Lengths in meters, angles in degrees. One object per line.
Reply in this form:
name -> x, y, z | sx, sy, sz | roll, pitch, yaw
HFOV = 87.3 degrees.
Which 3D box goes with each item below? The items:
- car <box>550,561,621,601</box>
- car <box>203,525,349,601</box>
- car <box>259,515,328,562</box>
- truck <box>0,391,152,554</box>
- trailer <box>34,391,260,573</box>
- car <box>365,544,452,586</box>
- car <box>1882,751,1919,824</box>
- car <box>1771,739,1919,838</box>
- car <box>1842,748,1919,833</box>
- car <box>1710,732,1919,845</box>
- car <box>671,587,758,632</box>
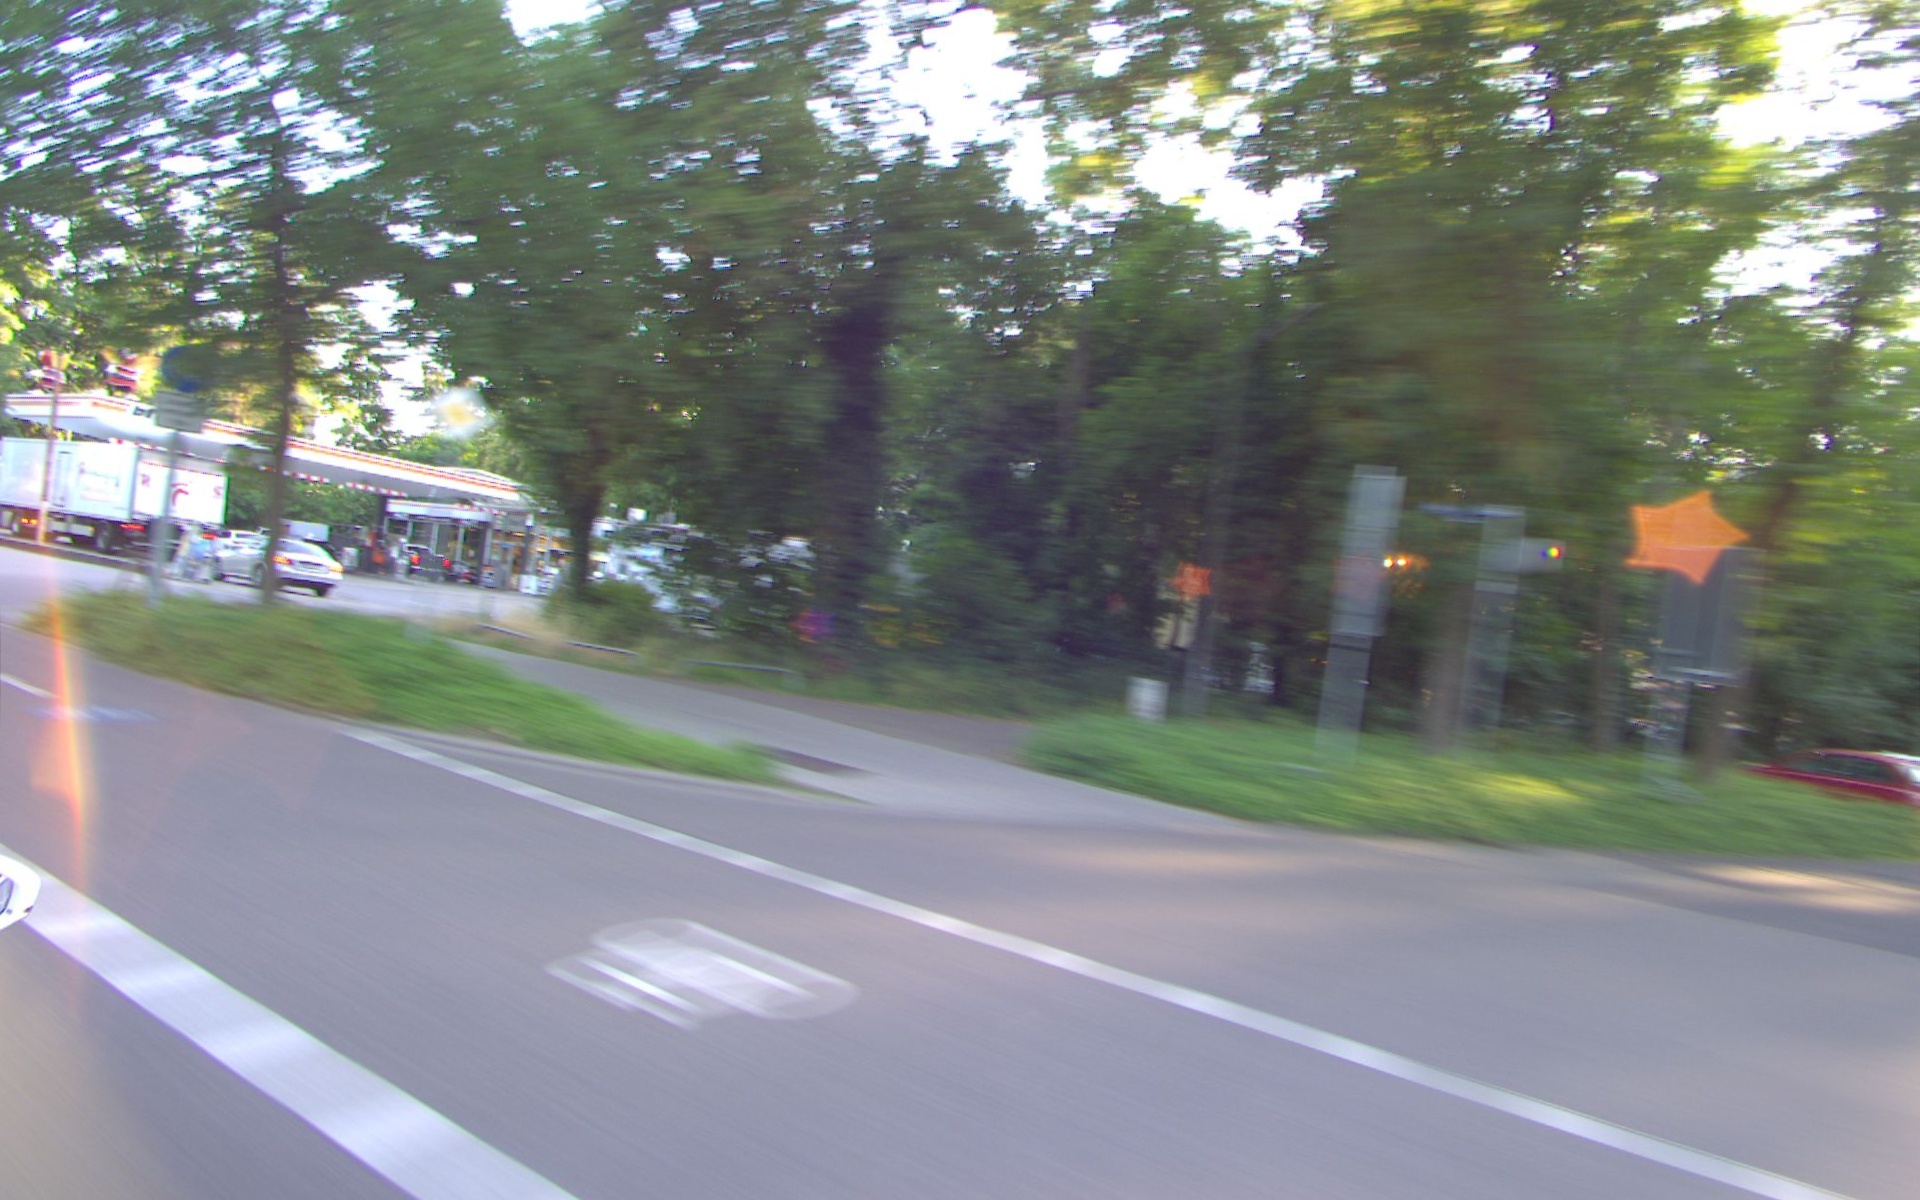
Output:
car -> -16.561, -0.794, 44.720 | 1.643, 1.541, 4.129 | 6, 0, -3
car -> -19.744, -1.092, 28.982 | 4.743, 1.601, 1.772 | 6, -3, 35
car -> -40.799, -3.789, 61.561 | 4.548, 2.374, 1.772 | 7, -2, 35
truck -> -35.949, -5.094, 39.615 | 8.264, 5.521, 3.040 | 7, 0, 29
trailer -> -28.979, -4.234, 35.773 | 7.797, 5.527, 3.027 | 7, 0, 29
car -> -28.520, -1.814, 51.960 | 4.548, 1.601, 1.991 | 6, -3, 35
car -> 24.411, 4.718, 23.524 | 1.522, 1.666, 3.817 | 7, -1, -25
car -> 20.095, 4.140, 21.561 | 1.522, 1.604, 3.817 | 7, -1, -25
car -> 22.344, 4.463, 22.274 | 1.522, 1.666, 3.817 | 7, -1, -25
car -> 18.142, 3.867, 20.825 | 1.522, 1.604, 3.817 | 7, -1, -25
car -> -9.803, 0.425, 40.459 | 1.641, 1.541, 4.133 | 6, 0, 12
